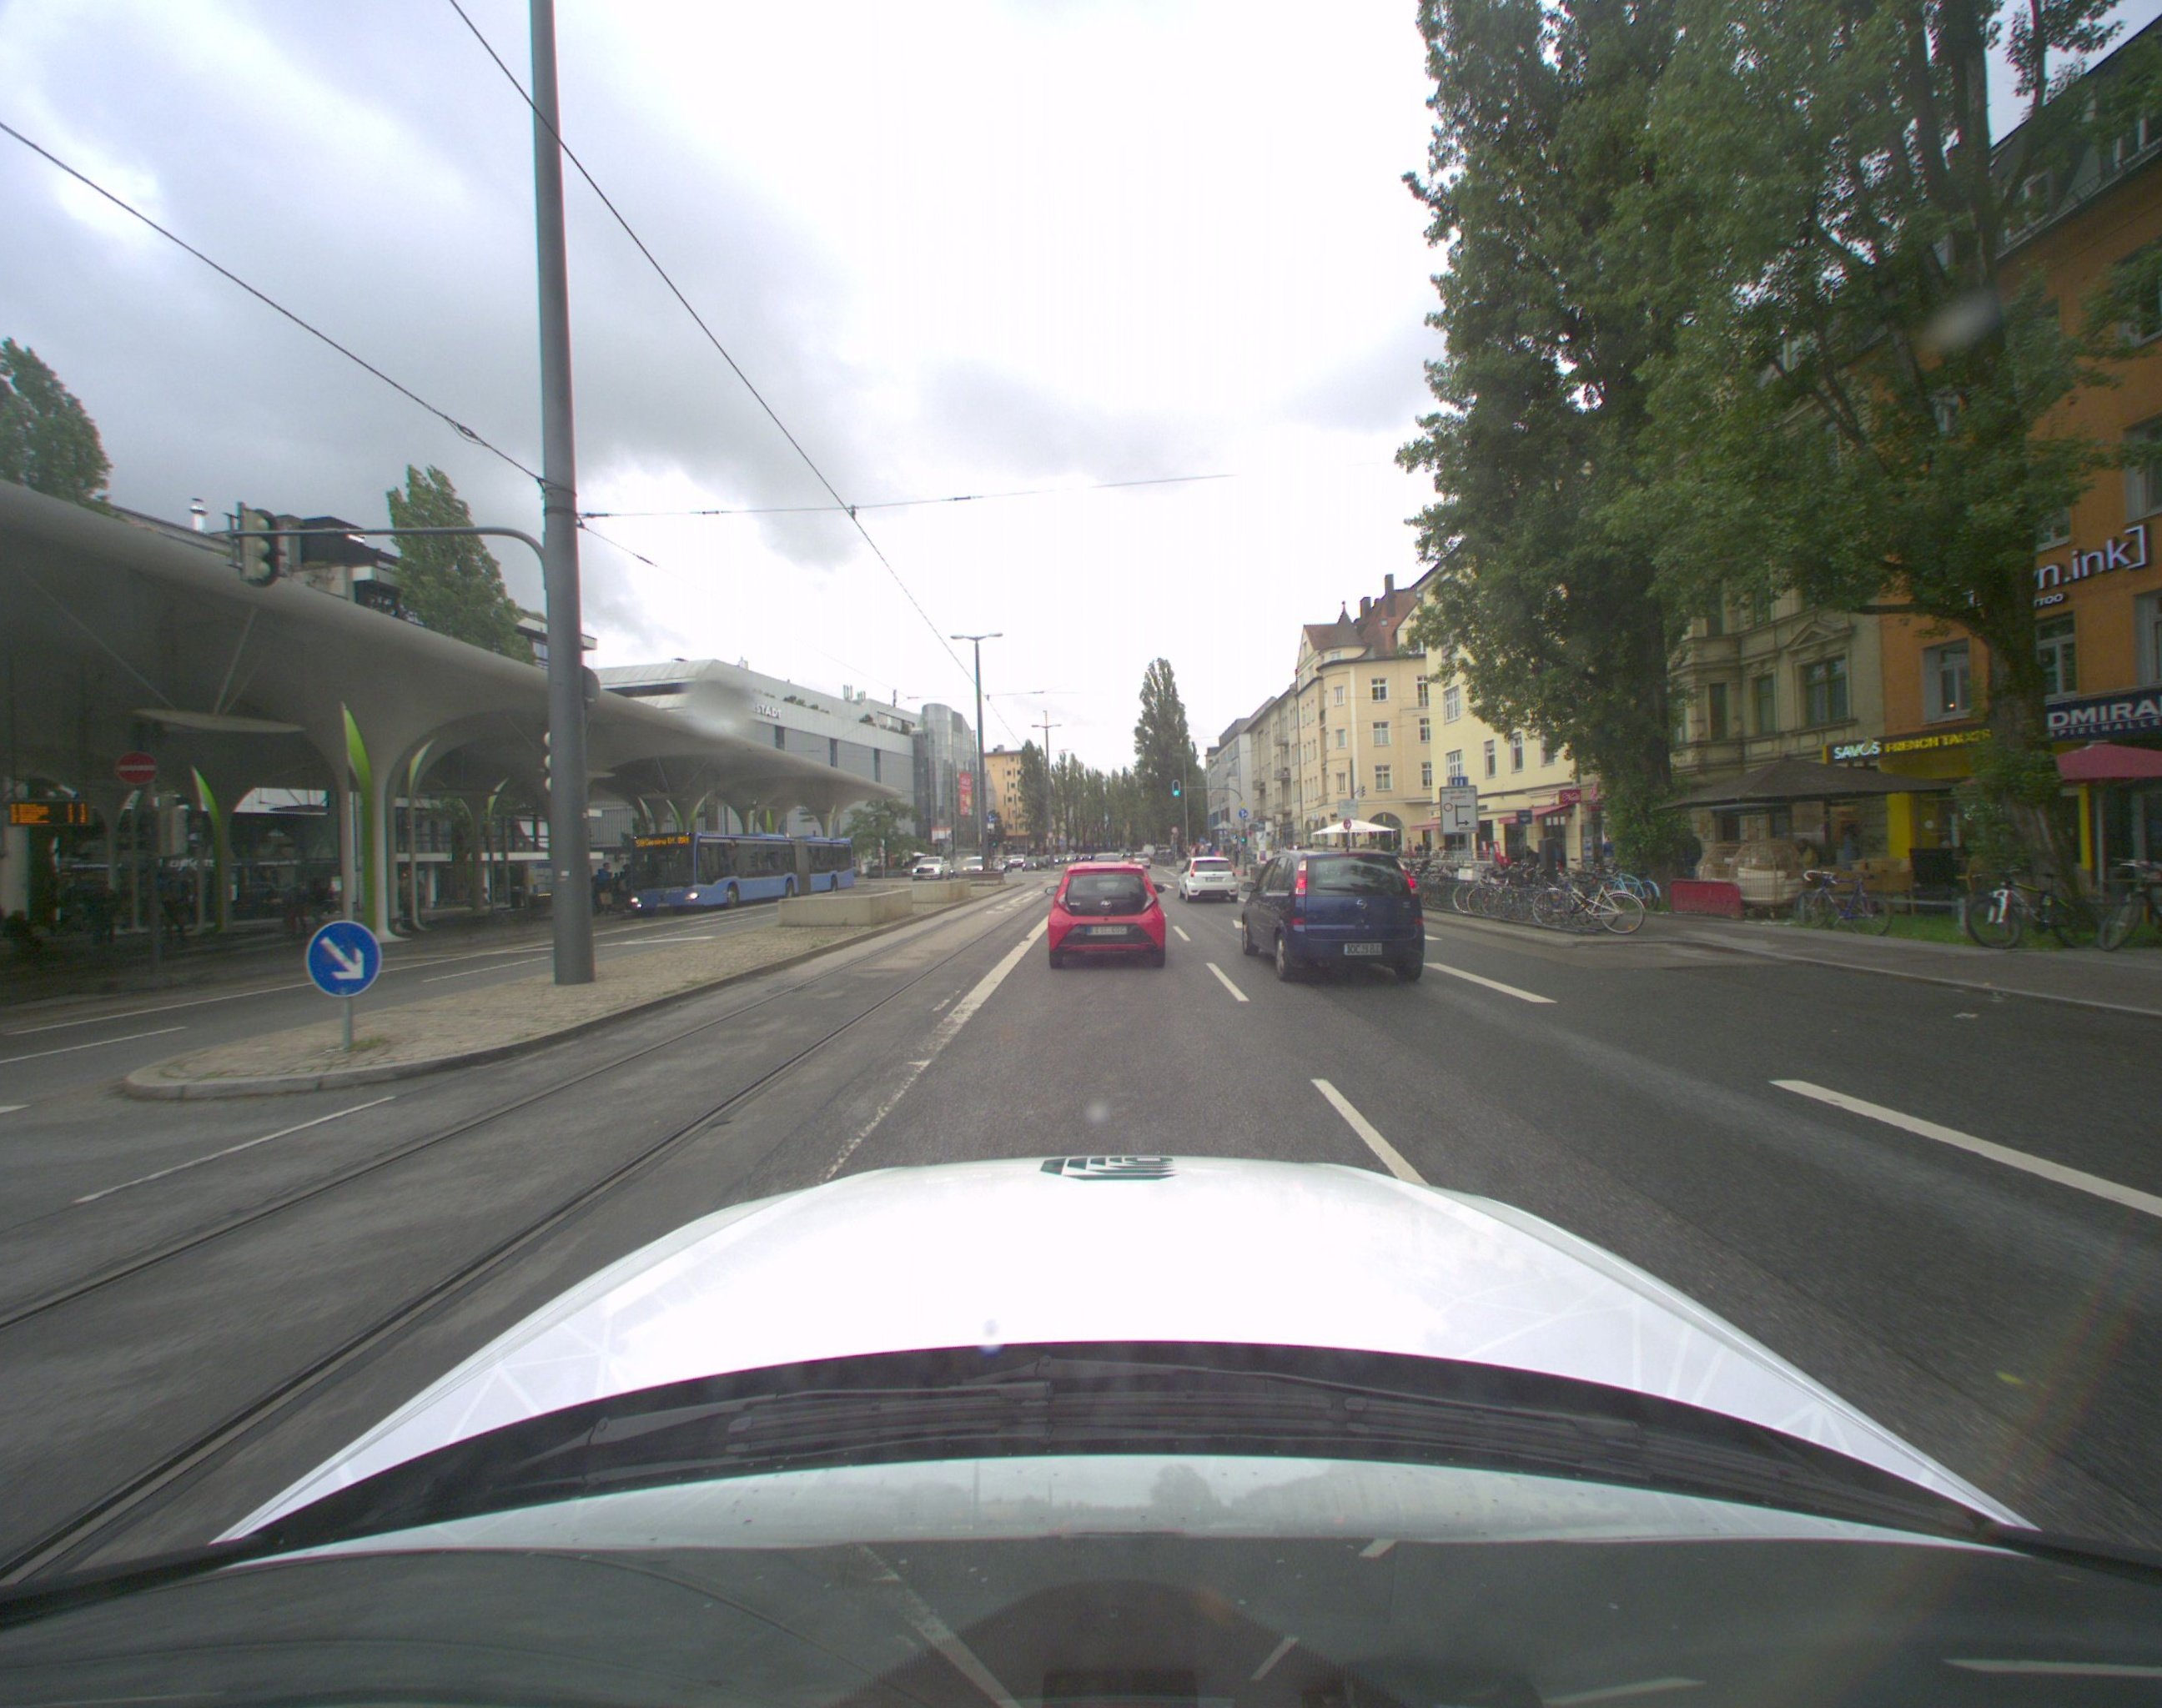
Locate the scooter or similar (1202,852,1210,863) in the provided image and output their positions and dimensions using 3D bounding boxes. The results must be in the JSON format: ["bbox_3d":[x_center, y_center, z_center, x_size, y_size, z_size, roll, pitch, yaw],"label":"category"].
[{"bbox_3d":[13.623,0.401,88.892,0.297,1.176,1.285,-3,0,32],"label":"scooter or similar"}]

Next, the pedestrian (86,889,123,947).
[{"bbox_3d":[-29.695,1.941,24.774,0.691,1.696,0.652,-3,0,43],"label":"pedestrian"}]

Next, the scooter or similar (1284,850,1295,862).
[{"bbox_3d":[18.450,0.172,72.083,0.815,0.994,0.595,-3,3,7],"label":"scooter or similar"}]

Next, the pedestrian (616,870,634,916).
[{"bbox_3d":[-16.295,1.384,29.103,0.391,1.605,0.390,-2,0,-3],"label":"pedestrian"}]

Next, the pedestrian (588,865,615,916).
[{"bbox_3d":[-16.798,1.261,28.538,0.566,1.743,0.752,-3,0,-16],"label":"pedestrian"}]

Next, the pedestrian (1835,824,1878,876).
[{"bbox_3d":[22.365,-0.114,23.487,0.622,1.475,0.584,-2,0,4],"label":"pedestrian"}]

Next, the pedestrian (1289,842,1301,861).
[{"bbox_3d":[19.136,-0.233,72.738,0.648,1.705,0.727,-5,3,-27],"label":"pedestrian"}]

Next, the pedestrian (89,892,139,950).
[{"bbox_3d":[-27.607,1.893,23.268,0.664,1.564,0.637,-2,0,-24],"label":"pedestrian"}]

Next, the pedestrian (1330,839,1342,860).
[{"bbox_3d":[22.067,-0.391,70.375,0.751,1.684,0.674,-6,4,-44],"label":"pedestrian"}]

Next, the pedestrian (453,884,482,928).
[{"bbox_3d":[-29.260,2.458,38.857,0.664,2.013,0.913,-2,0,40],"label":"pedestrian"}]

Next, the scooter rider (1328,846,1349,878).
[{"bbox_3d":[11.613,0.372,36.696,0.698,1.389,0.643,-2,0,0],"label":"scooter rider"}]

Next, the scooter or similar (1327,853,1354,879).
[{"bbox_3d":[11.660,0.530,36.580,0.773,1.075,1.256,-2,0,0],"label":"scooter or similar"}]

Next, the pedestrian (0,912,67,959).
[{"bbox_3d":[-27.583,2.127,21.350,0.908,1.155,0.878,0,0,2],"label":"pedestrian"}]

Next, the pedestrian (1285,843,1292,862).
[{"bbox_3d":[18.626,-0.157,73.014,0.556,1.609,0.570,-2,3,15],"label":"pedestrian"}]

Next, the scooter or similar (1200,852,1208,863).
[{"bbox_3d":[13.472,0.401,89.244,0.360,1.176,1.356,-3,0,32],"label":"scooter or similar"}]

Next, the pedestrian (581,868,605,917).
[{"bbox_3d":[-17.569,1.377,29.310,0.505,1.734,0.570,-2,0,-11],"label":"pedestrian"}]

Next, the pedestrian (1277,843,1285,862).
[{"bbox_3d":[17.942,-0.153,72.930,0.560,1.670,0.566,-2,3,24],"label":"pedestrian"}]

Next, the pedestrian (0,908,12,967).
[{"bbox_3d":[-26.020,2.003,19.043,0.957,1.370,0.843,-2,0,8],"label":"pedestrian"}]

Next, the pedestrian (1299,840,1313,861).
[{"bbox_3d":[19.671,-0.288,71.264,0.928,1.755,1.067,-2,0,8],"label":"pedestrian"}]

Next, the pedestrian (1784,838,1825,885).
[{"bbox_3d":[20.546,0.207,23.135,0.581,1.280,0.583,-2,0,1],"label":"pedestrian"}]

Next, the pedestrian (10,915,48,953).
[{"bbox_3d":[-29.640,2.246,22.948,0.459,0.989,0.510,-2,0,-25],"label":"pedestrian"}]

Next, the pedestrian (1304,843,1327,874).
[{"bbox_3d":[13.431,0.257,46.723,0.882,1.743,0.854,-2,0,-15],"label":"pedestrian"}]

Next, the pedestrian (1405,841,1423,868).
[{"bbox_3d":[17.925,0.030,43.844,0.673,1.422,0.617,-2,0,2],"label":"pedestrian"}]

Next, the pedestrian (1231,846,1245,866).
[{"bbox_3d":[13.854,0.205,72.007,0.826,1.691,0.825,-3,0,39],"label":"pedestrian"}]

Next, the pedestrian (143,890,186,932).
[{"bbox_3d":[-41.349,2.562,36.740,0.921,1.773,1.004,-2,0,21],"label":"pedestrian"}]

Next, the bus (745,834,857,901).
[{"bbox_3d":[-14.373,0.645,42.559,2.649,3.007,7.520,-4,0,3],"label":"bus"}]

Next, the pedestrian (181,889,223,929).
[{"bbox_3d":[-40.899,2.561,37.889,0.921,1.773,1.004,-2,0,21],"label":"pedestrian"}]

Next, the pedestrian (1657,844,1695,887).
[{"bbox_3d":[17.445,0.337,23.892,0.598,1.222,0.666,-2,0,2],"label":"pedestrian"}]

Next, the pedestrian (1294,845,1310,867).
[{"bbox_3d":[15.532,0.155,57.225,0.730,1.540,0.887,-2,0,-13],"label":"pedestrian"}]

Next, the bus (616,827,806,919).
[{"bbox_3d":[-14.614,0.662,33.514,2.651,3.007,10.517,-4,0,1],"label":"bus"}]

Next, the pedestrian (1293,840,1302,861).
[{"bbox_3d":[19.160,-0.325,71.995,0.645,1.751,0.638,-3,3,7],"label":"pedestrian"}]

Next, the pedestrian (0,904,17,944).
[{"bbox_3d":[-47.169,3.064,35.428,0.786,1.677,0.756,-3,0,11],"label":"pedestrian"}]

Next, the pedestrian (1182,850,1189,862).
[{"bbox_3d":[13.365,0.204,104.234,0.796,1.522,0.810,-2,0,-4],"label":"pedestrian"}]

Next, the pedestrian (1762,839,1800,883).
[{"bbox_3d":[20.594,0.205,23.974,0.581,1.280,0.583,-2,0,1],"label":"pedestrian"}]

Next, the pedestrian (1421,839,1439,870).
[{"bbox_3d":[18.536,0.028,43.253,0.612,1.632,0.678,-2,0,2],"label":"pedestrian"}]

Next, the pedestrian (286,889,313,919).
[{"bbox_3d":[-45.458,2.892,47.398,0.775,1.661,0.777,-2,0,11],"label":"pedestrian"}]

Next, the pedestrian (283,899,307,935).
[{"bbox_3d":[-29.086,2.310,30.141,0.513,1.265,0.578,-3,0,41],"label":"pedestrian"}]

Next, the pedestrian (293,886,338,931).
[{"bbox_3d":[-30.756,2.180,32.720,0.866,1.730,0.897,-3,0,7],"label":"pedestrian"}]

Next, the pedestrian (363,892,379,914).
[{"bbox_3d":[-44.902,3.084,51.522,0.507,1.333,0.580,-2,0,20],"label":"pedestrian"}]

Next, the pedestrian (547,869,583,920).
[{"bbox_3d":[-17.870,1.390,28.226,0.714,1.721,0.878,-2,0,-12],"label":"pedestrian"}]

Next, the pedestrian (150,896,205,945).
[{"bbox_3d":[-29.702,2.167,26.781,0.742,1.508,0.895,-2,0,-5],"label":"pedestrian"}]
